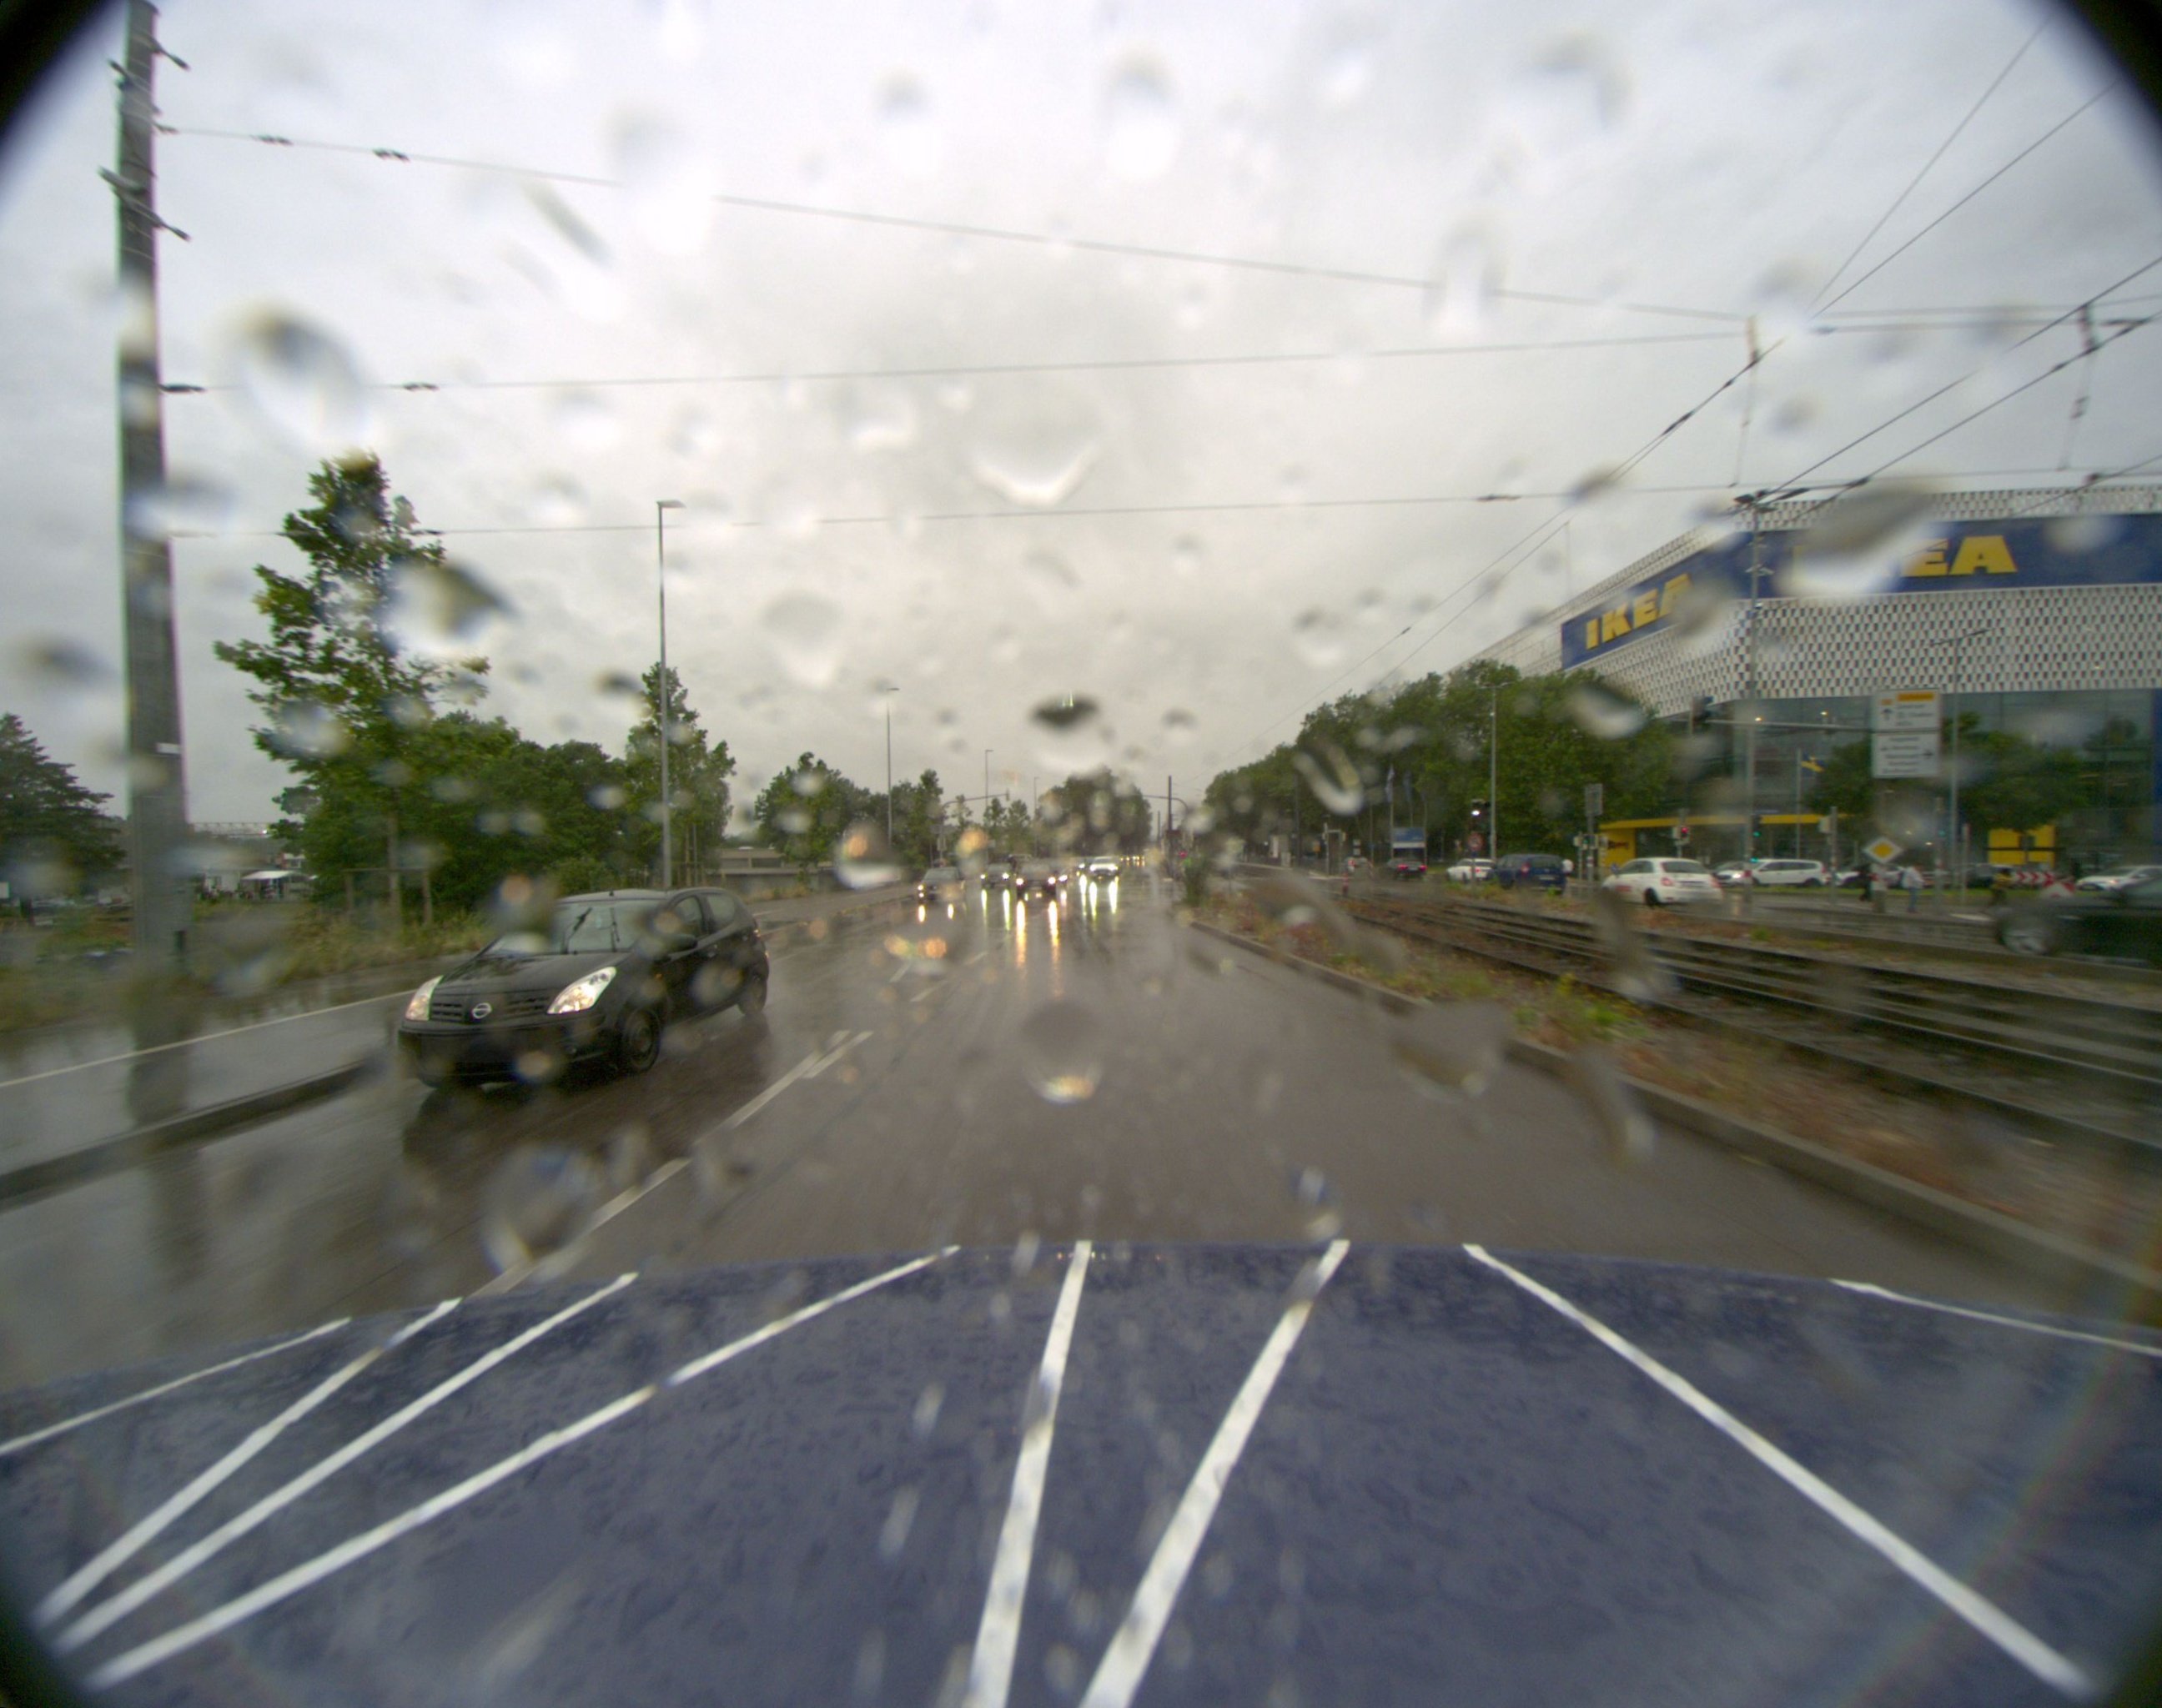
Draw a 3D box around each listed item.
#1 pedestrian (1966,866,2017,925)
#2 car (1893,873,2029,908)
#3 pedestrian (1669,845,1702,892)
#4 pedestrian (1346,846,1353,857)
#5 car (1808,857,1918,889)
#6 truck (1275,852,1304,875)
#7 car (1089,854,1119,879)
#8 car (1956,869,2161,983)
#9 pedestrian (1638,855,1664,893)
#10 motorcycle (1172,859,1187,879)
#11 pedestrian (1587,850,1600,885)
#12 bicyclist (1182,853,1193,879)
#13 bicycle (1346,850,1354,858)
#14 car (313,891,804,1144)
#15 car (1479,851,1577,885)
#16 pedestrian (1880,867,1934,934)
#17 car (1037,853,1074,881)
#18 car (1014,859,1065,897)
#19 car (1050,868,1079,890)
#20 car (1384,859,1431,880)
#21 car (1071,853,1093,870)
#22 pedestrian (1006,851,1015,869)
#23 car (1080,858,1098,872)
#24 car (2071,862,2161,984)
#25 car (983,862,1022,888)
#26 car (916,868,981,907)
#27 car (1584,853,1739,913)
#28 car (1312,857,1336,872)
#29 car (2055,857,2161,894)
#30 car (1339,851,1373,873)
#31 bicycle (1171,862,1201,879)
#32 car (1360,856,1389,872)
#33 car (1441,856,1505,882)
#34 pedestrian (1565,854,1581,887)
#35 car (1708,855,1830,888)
[{"bbox_3d":[29.385,1.325,24.537,0.715,1.807,0.768,-2,1,-2],"label":"pedestrian"},{"bbox_3d":[44.384,1.831,38.424,4.376,1.531,1.821,-2,-1,7],"label":"car"},{"bbox_3d":[29.796,0.724,37.464,0.919,2.232,0.990,-3,2,19],"label":"pedestrian"},{"bbox_3d":[32.562,-0.336,92.067,0.579,1.327,0.686,-2,1,0],"label":"pedestrian"},{"bbox_3d":[43.216,1.035,42.046,4.013,1.609,1.760,-2,1,7],"label":"car"},{"bbox_3d":[31.459,1.333,115.121,2.746,2.833,9.094,-2,2,6],"label":"truck"},{"bbox_3d":[1.824,0.906,58.750,1.993,1.778,4.554,-2,0,5],"label":"car"},{"bbox_3d":[14.624,0.963,9.457,1.926,1.415,5.086,3,0,6],"label":"car"},{"bbox_3d":[31.083,1.097,41.442,0.783,2.002,0.859,-2,1,12],"label":"pedestrian"},{"bbox_3d":[6.473,0.967,49.836,0.527,1.214,1.404,-3,-1,25],"label":"motorcycle"},{"bbox_3d":[31.342,0.813,46.459,0.570,2.122,0.634,-3,-1,37],"label":"pedestrian"},{"bbox_3d":[7.145,0.802,51.072,0.618,1.721,0.793,-3,0,3],"label":"bicyclist"},{"bbox_3d":[32.582,-0.001,92.122,0.574,0.852,1.175,-2,1,0],"label":"bicycle"},{"bbox_3d":[-4.168,1.164,7.033,1.776,1.453,4.092,-2,-1,-2],"label":"car"},{"bbox_3d":[17.994,0.552,30.848,1.715,1.242,4.464,-2,-1,6],"label":"car"},{"bbox_3d":[25.589,1.424,23.553,0.696,2.002,0.858,-2,1,-2],"label":"pedestrian"},{"bbox_3d":[-1.488,0.774,45.993,1.715,1.515,4.045,-2,-1,5],"label":"car"},{"bbox_3d":[-1.873,1.083,35.398,1.876,1.573,4.044,-2,-1,4],"label":"car"},{"bbox_3d":[-1.195,1.820,56.605,1.715,1.515,4.045,-2,-1,5],"label":"car"},{"bbox_3d":[20.889,1.000,48.777,1.715,1.242,4.050,-2,-1,7],"label":"car"},{"bbox_3d":[0.143,0.753,73.505,1.715,1.515,4.045,-2,-1,5],"label":"car"},{"bbox_3d":[-6.614,0.558,71.352,0.733,1.602,0.618,0,1,4],"label":"pedestrian"},{"bbox_3d":[0.919,1.240,86.392,1.715,1.515,4.045,-2,-1,5],"label":"car"},{"bbox_3d":[18.366,1.139,11.019,1.998,1.890,4.792,-2,1,5],"label":"car"},{"bbox_3d":[-5.000,1.335,48.632,1.715,1.515,4.045,-2,-1,5],"label":"car"},{"bbox_3d":[-5.581,1.400,32.489,1.715,1.476,4.045,-2,-1,5],"label":"car"},{"bbox_3d":[16.560,0.792,21.964,1.715,1.526,4.050,-2,-1,7],"label":"car"},{"bbox_3d":[23.579,0.983,73.931,1.584,1.358,4.205,-2,-1,10],"label":"car"},{"bbox_3d":[51.668,1.064,37.584,4.105,1.594,2.001,-2,1,6],"label":"car"},{"bbox_3d":[22.557,0.631,62.511,1.715,1.697,4.432,-2,-1,9],"label":"car"},{"bbox_3d":[7.049,1.100,51.143,1.870,1.002,0.670,-3,-1,3],"label":"bicycle"},{"bbox_3d":[27.201,0.956,70.489,1.585,1.405,3.917,-2,-1,7],"label":"car"},{"bbox_3d":[23.301,0.863,45.323,1.815,1.427,4.715,-2,-1,7],"label":"car"},{"bbox_3d":[30.188,1.019,46.609,0.693,2.001,0.629,-3,-1,36],"label":"pedestrian"},{"bbox_3d":[35.773,0.907,39.611,4.457,1.531,1.821,-2,-1,7],"label":"car"}]
